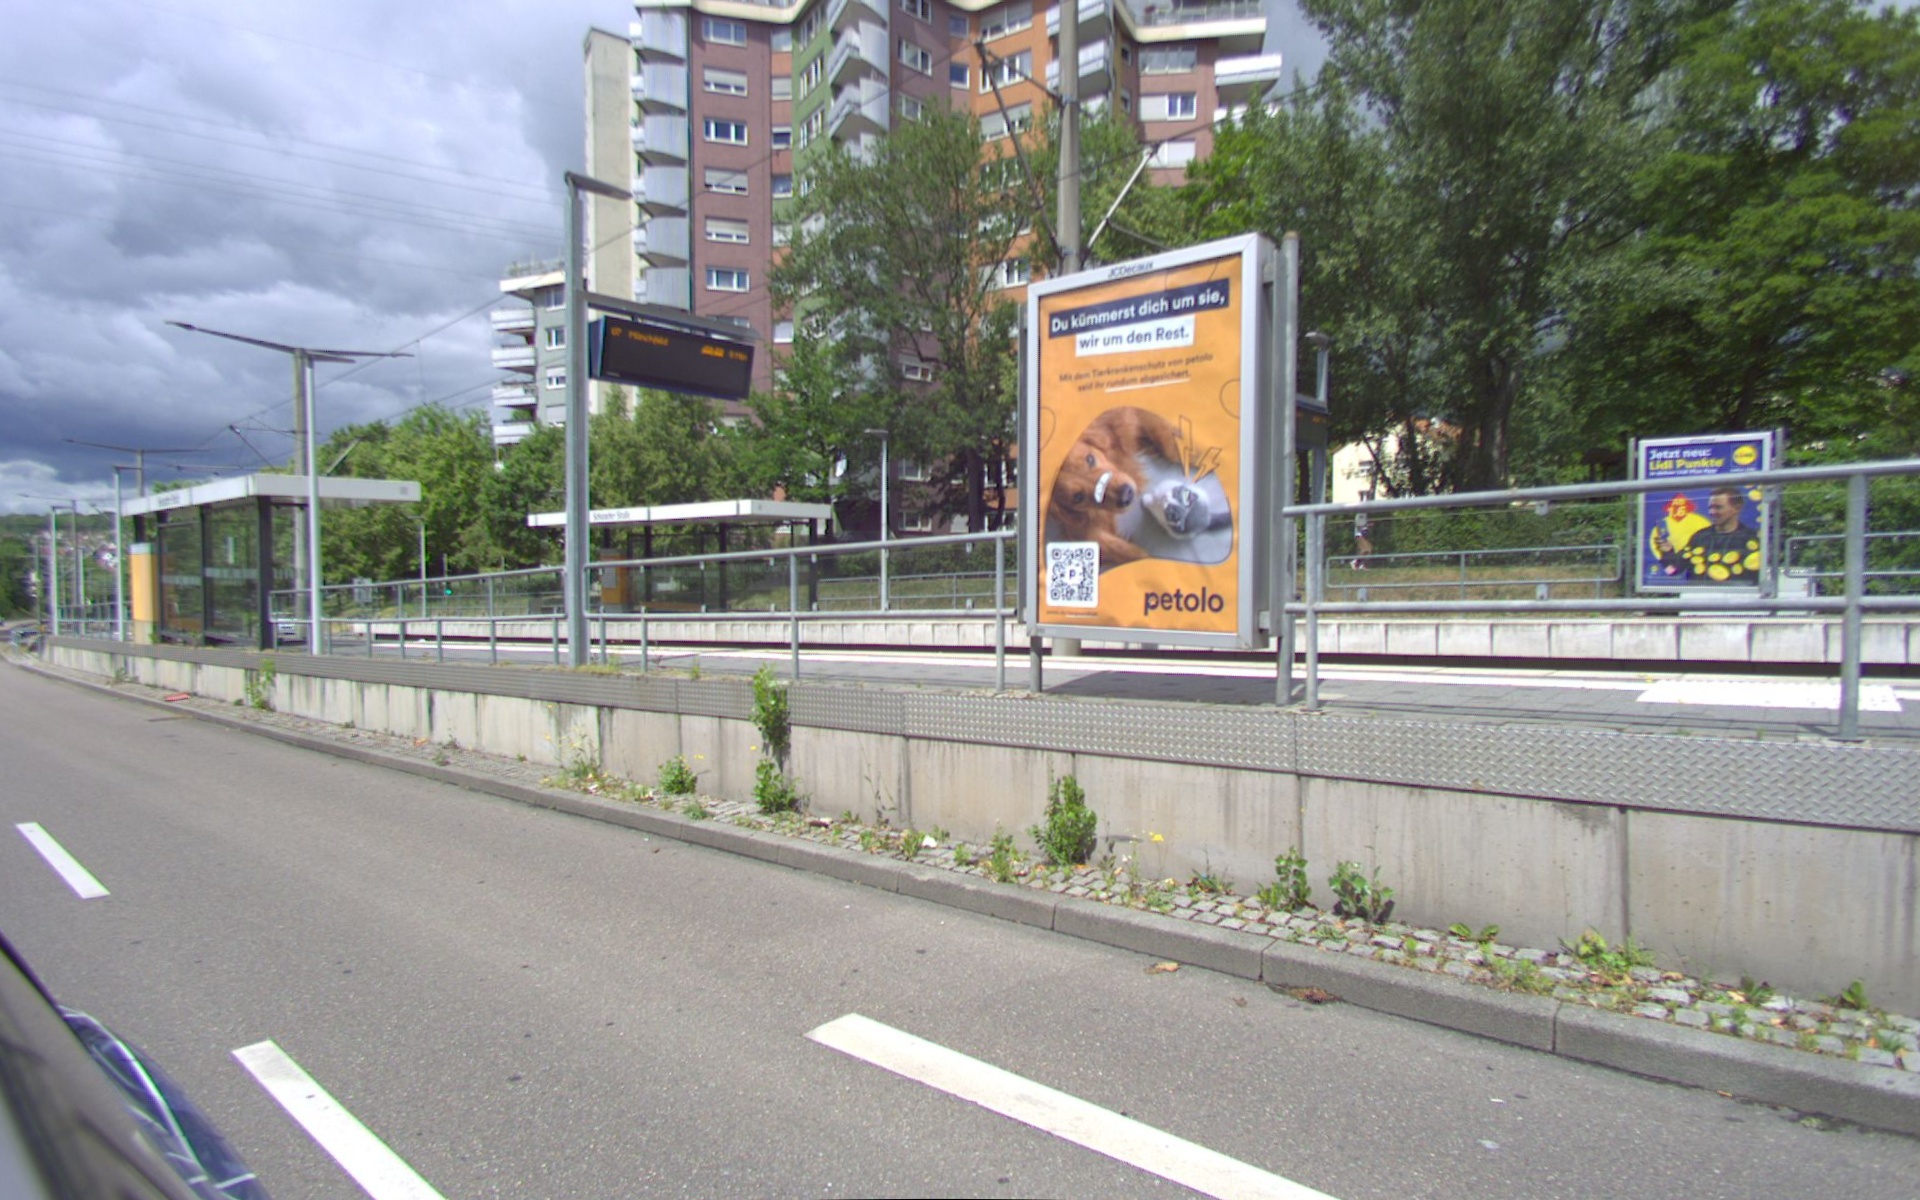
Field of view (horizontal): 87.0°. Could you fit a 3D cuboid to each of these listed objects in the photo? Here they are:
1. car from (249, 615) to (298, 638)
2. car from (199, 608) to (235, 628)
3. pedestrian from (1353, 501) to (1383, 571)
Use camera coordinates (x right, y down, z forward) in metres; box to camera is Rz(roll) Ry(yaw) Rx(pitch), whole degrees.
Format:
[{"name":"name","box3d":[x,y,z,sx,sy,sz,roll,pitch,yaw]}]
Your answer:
[{"name":"car","box3d":[-44.587,1.710,65.712,3.998,1.429,1.637,-1,0,41]},{"name":"car","box3d":[-56.800,1.382,77.309,3.739,1.524,1.636,-1,-1,45]},{"name":"pedestrian","box3d":[10.520,-1.637,26.085,0.504,1.725,0.643,-1,-1,41]}]
